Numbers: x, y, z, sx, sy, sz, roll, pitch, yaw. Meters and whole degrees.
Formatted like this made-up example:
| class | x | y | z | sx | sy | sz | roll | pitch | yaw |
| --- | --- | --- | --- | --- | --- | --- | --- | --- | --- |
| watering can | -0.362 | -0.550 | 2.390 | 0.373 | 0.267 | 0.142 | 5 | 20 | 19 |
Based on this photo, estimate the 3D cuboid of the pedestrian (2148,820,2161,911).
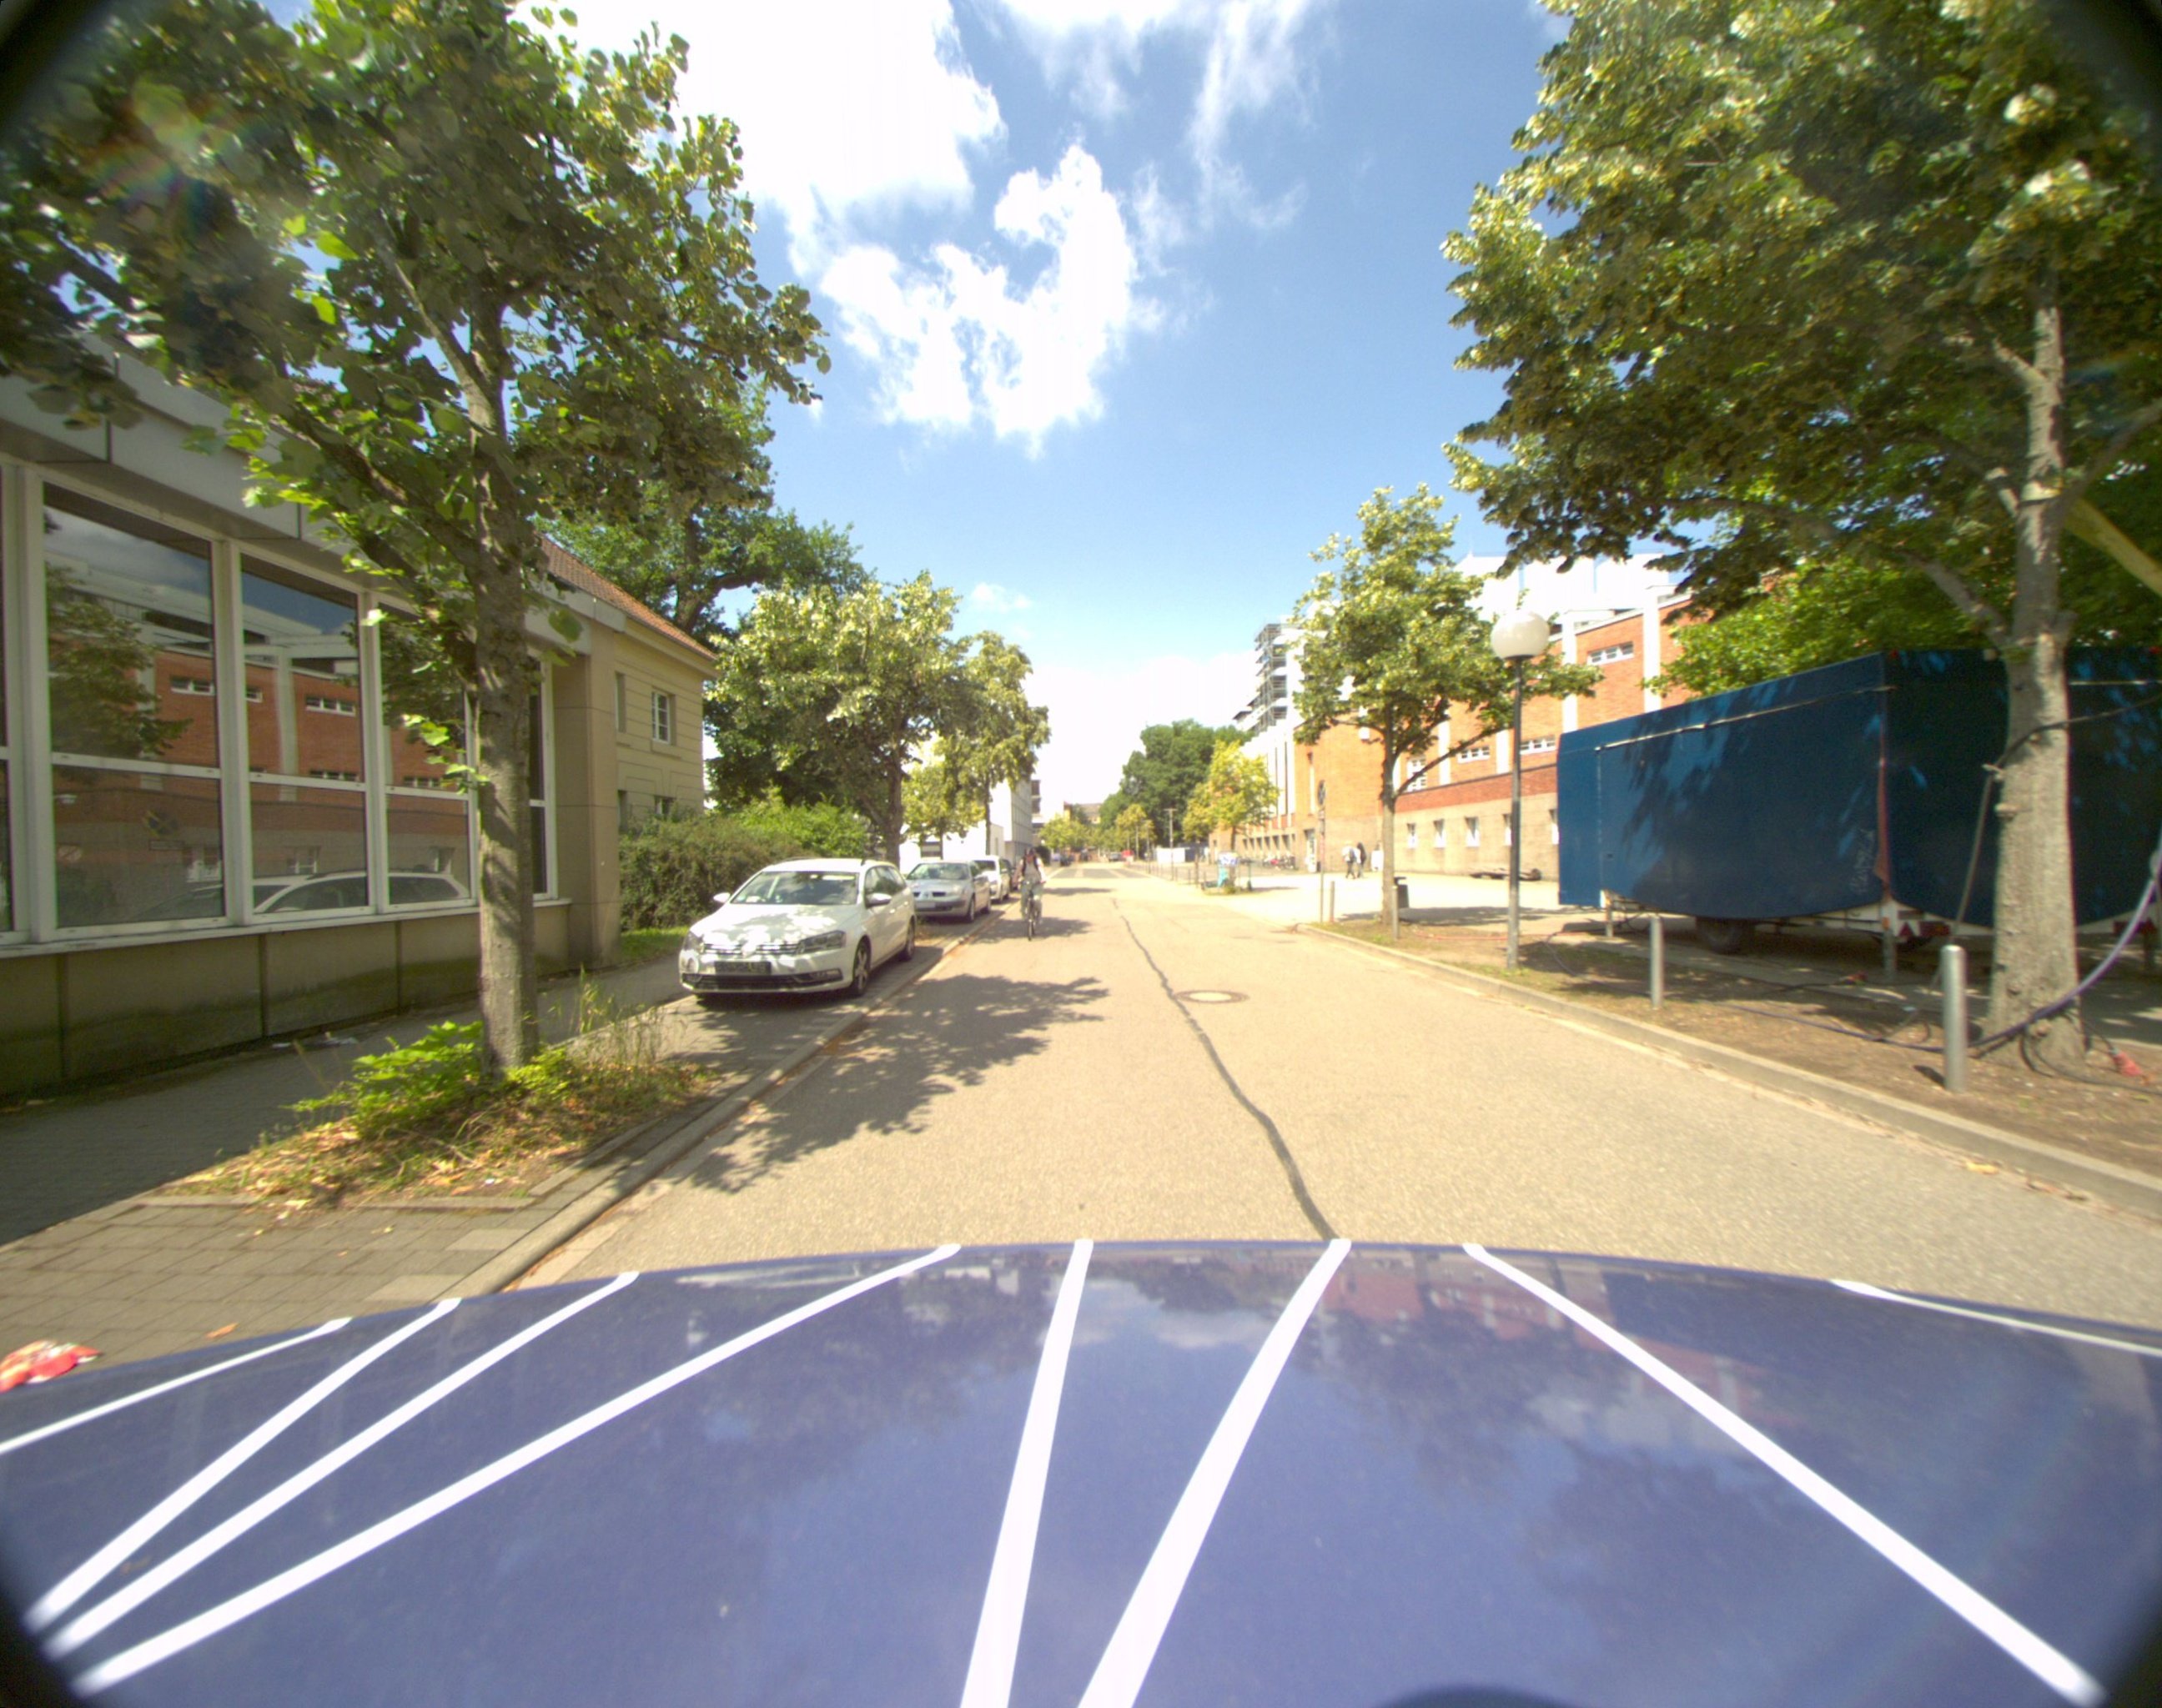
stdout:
| class | x | y | z | sx | sy | sz | roll | pitch | yaw |
| --- | --- | --- | --- | --- | --- | --- | --- | --- | --- |
| pedestrian | 20.507 | 0.210 | 14.255 | 0.531 | 1.701 | 0.447 | -3 | 0 | -44 |

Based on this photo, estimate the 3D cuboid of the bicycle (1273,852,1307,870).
| class | x | y | z | sx | sy | sz | roll | pitch | yaw |
| --- | --- | --- | --- | --- | --- | --- | --- | --- | --- |
| bicycle | 13.742 | 0.443 | 49.994 | 2.027 | 1.119 | 0.667 | -1 | 1 | -1 |

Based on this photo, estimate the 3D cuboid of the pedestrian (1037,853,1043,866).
| class | x | y | z | sx | sy | sz | roll | pitch | yaw |
| --- | --- | --- | --- | --- | --- | --- | --- | --- | --- |
| pedestrian | -4.534 | 0.601 | 84.666 | 0.525 | 1.430 | 0.701 | -1 | 1 | 3 |

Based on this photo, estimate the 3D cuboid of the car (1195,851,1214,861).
| class | x | y | z | sx | sy | sz | roll | pitch | yaw |
| --- | --- | --- | --- | --- | --- | --- | --- | --- | --- |
| car | 15.394 | 0.203 | 94.840 | 2.288 | 1.173 | 0.524 | -1 | 1 | 2 |

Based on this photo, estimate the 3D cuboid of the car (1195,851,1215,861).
| class | x | y | z | sx | sy | sz | roll | pitch | yaw |
| --- | --- | --- | --- | --- | --- | --- | --- | --- | --- |
| car | 15.204 | 0.204 | 93.096 | 2.368 | 1.173 | 0.794 | -1 | 1 | 2 |

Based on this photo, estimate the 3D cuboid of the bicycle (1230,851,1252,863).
| class | x | y | z | sx | sy | sz | roll | pitch | yaw |
| --- | --- | --- | --- | --- | --- | --- | --- | --- | --- |
| bicycle | 14.875 | 0.276 | 70.634 | 1.955 | 1.024 | 0.518 | -1 | 1 | -1 |

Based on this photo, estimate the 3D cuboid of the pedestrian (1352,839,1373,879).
| class | x | y | z | sx | sy | sz | roll | pitch | yaw |
| --- | --- | --- | --- | --- | --- | --- | --- | --- | --- |
| pedestrian | 12.637 | 0.216 | 34.128 | 0.577 | 1.769 | 0.917 | -2 | 1 | 0 |

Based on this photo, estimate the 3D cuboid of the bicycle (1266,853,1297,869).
| class | x | y | z | sx | sy | sz | roll | pitch | yaw |
| --- | --- | --- | --- | --- | --- | --- | --- | --- | --- |
| bicycle | 14.310 | 0.523 | 54.137 | 2.015 | 1.076 | 0.621 | -1 | 1 | -1 |

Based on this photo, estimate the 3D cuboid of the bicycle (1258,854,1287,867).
| class | x | y | z | sx | sy | sz | roll | pitch | yaw |
| --- | --- | --- | --- | --- | --- | --- | --- | --- | --- |
| bicycle | 14.532 | 0.507 | 57.708 | 1.955 | 0.955 | 0.684 | -1 | 1 | -1 |

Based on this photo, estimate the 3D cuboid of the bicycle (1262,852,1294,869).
| class | x | y | z | sx | sy | sz | roll | pitch | yaw |
| --- | --- | --- | --- | --- | --- | --- | --- | --- | --- |
| bicycle | 13.611 | 0.452 | 52.572 | 2.026 | 1.119 | 0.439 | -3 | 1 | 4 |

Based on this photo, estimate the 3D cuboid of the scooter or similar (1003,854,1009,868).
| class | x | y | z | sx | sy | sz | roll | pitch | yaw |
| --- | --- | --- | --- | --- | --- | --- | --- | --- | --- |
| scooter or similar | -6.550 | 0.595 | 66.072 | 0.327 | 1.228 | 1.073 | -1 | 1 | 3 |

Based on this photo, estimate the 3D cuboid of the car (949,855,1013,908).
| class | x | y | z | sx | sy | sz | roll | pitch | yaw |
| --- | --- | --- | --- | --- | --- | --- | --- | --- | --- |
| car | -3.053 | 0.796 | 23.893 | 1.591 | 1.458 | 3.987 | -1 | 1 | -2 |

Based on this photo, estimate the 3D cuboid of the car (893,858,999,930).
| class | x | y | z | sx | sy | sz | roll | pitch | yaw |
| --- | --- | --- | --- | --- | --- | --- | --- | --- | --- |
| car | -3.005 | 0.840 | 17.675 | 1.650 | 1.382 | 3.988 | -1 | 1 | 1 |

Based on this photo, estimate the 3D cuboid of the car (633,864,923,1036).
| class | x | y | z | sx | sy | sz | roll | pitch | yaw |
| --- | --- | --- | --- | --- | --- | --- | --- | --- | --- |
| car | -3.217 | 0.896 | 9.207 | 1.730 | 1.458 | 4.671 | 0 | 0 | -1 |

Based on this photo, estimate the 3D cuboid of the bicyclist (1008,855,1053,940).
| class | x | y | z | sx | sy | sz | roll | pitch | yaw |
| --- | --- | --- | --- | --- | --- | --- | --- | --- | --- |
| bicyclist | -0.916 | 0.776 | 14.066 | 0.675 | 1.470 | 1.062 | -1 | 2 | 2 |

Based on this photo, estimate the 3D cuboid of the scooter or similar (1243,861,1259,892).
| class | x | y | z | sx | sy | sz | roll | pitch | yaw |
| --- | --- | --- | --- | --- | --- | --- | --- | --- | --- |
| scooter or similar | 6.575 | 0.854 | 29.377 | 0.564 | 1.142 | 1.351 | -1 | 1 | 12 |

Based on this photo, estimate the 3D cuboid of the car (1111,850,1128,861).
| class | x | y | z | sx | sy | sz | roll | pitch | yaw |
| --- | --- | --- | --- | --- | --- | --- | --- | --- | --- |
| car | 7.704 | 0.234 | 152.814 | 2.022 | 2.079 | 4.439 | -2 | 0 | 21 |

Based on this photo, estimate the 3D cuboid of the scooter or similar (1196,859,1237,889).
| class | x | y | z | sx | sy | sz | roll | pitch | yaw |
| --- | --- | --- | --- | --- | --- | --- | --- | --- | --- |
| scooter or similar | 5.684 | 0.847 | 31.883 | 1.571 | 1.218 | 0.571 | -1 | 1 | 27 |

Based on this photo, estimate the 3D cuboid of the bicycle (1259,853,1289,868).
| class | x | y | z | sx | sy | sz | roll | pitch | yaw |
| --- | --- | --- | --- | --- | --- | --- | --- | --- | --- |
| bicycle | 14.226 | 0.500 | 55.948 | 2.027 | 1.055 | 0.663 | -1 | 1 | -1 |

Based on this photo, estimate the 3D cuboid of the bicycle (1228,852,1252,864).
| class | x | y | z | sx | sy | sz | roll | pitch | yaw |
| --- | --- | --- | --- | --- | --- | --- | --- | --- | --- |
| bicycle | 14.294 | 0.360 | 68.351 | 1.955 | 1.024 | 0.530 | -1 | 1 | -1 |

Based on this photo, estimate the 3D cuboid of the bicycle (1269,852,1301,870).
| class | x | y | z | sx | sy | sz | roll | pitch | yaw |
| --- | --- | --- | --- | --- | --- | --- | --- | --- | --- |
| bicycle | 13.928 | 0.468 | 51.818 | 2.026 | 1.119 | 0.592 | -1 | 1 | 1 |

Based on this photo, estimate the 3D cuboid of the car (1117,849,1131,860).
| class | x | y | z | sx | sy | sz | roll | pitch | yaw |
| --- | --- | --- | --- | --- | --- | --- | --- | --- | --- |
| car | 7.213 | 0.085 | 126.582 | 1.912 | 1.870 | 4.002 | -2 | 0 | 7 |

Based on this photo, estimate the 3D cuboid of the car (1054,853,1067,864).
| class | x | y | z | sx | sy | sz | roll | pitch | yaw |
| --- | --- | --- | --- | --- | --- | --- | --- | --- | --- |
| car | -2.620 | 0.567 | 97.404 | 1.552 | 1.377 | 3.453 | -1 | 0 | -1 |

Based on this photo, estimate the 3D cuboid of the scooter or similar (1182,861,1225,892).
| class | x | y | z | sx | sy | sz | roll | pitch | yaw |
| --- | --- | --- | --- | --- | --- | --- | --- | --- | --- |
| scooter or similar | 4.891 | 0.894 | 30.317 | 1.571 | 1.218 | 0.525 | -1 | 1 | 27 |

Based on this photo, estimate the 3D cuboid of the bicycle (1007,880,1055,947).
| class | x | y | z | sx | sy | sz | roll | pitch | yaw |
| --- | --- | --- | --- | --- | --- | --- | --- | --- | --- |
| bicycle | -0.911 | 1.077 | 14.331 | 0.675 | 1.066 | 2.136 | -1 | 0 | 2 |

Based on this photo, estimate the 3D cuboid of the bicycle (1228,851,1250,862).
| class | x | y | z | sx | sy | sz | roll | pitch | yaw |
| --- | --- | --- | --- | --- | --- | --- | --- | --- | --- |
| bicycle | 14.856 | 0.224 | 71.484 | 1.955 | 1.024 | 0.542 | -1 | 1 | -1 |

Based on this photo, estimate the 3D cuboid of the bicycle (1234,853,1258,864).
| class | x | y | z | sx | sy | sz | roll | pitch | yaw |
| --- | --- | --- | --- | --- | --- | --- | --- | --- | --- |
| bicycle | 14.493 | 0.397 | 66.749 | 1.955 | 0.935 | 0.569 | -1 | 1 | -1 |

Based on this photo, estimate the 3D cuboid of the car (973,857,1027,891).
| class | x | y | z | sx | sy | sz | roll | pitch | yaw |
| --- | --- | --- | --- | --- | --- | --- | --- | --- | --- |
| car | -3.371 | 0.806 | 32.194 | 1.712 | 1.273 | 4.000 | -1 | 0 | 1 |

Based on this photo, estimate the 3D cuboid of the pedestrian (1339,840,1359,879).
| class | x | y | z | sx | sy | sz | roll | pitch | yaw |
| --- | --- | --- | --- | --- | --- | --- | --- | --- | --- |
| pedestrian | 12.058 | 0.238 | 34.192 | 0.564 | 1.752 | 0.805 | -1 | 1 | 0 |

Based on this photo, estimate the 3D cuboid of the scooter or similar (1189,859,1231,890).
| class | x | y | z | sx | sy | sz | roll | pitch | yaw |
| --- | --- | --- | --- | --- | --- | --- | --- | --- | --- |
| scooter or similar | 5.253 | 0.839 | 30.996 | 1.571 | 1.218 | 0.566 | -1 | 1 | 27 |

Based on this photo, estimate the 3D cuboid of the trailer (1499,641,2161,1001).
| class | x | y | z | sx | sy | sz | roll | pitch | yaw |
| --- | --- | --- | --- | --- | --- | --- | --- | --- | --- |
| trailer | 8.425 | -0.309 | 9.668 | 2.703 | 3.009 | 6.265 | -2 | 0 | 0 |
